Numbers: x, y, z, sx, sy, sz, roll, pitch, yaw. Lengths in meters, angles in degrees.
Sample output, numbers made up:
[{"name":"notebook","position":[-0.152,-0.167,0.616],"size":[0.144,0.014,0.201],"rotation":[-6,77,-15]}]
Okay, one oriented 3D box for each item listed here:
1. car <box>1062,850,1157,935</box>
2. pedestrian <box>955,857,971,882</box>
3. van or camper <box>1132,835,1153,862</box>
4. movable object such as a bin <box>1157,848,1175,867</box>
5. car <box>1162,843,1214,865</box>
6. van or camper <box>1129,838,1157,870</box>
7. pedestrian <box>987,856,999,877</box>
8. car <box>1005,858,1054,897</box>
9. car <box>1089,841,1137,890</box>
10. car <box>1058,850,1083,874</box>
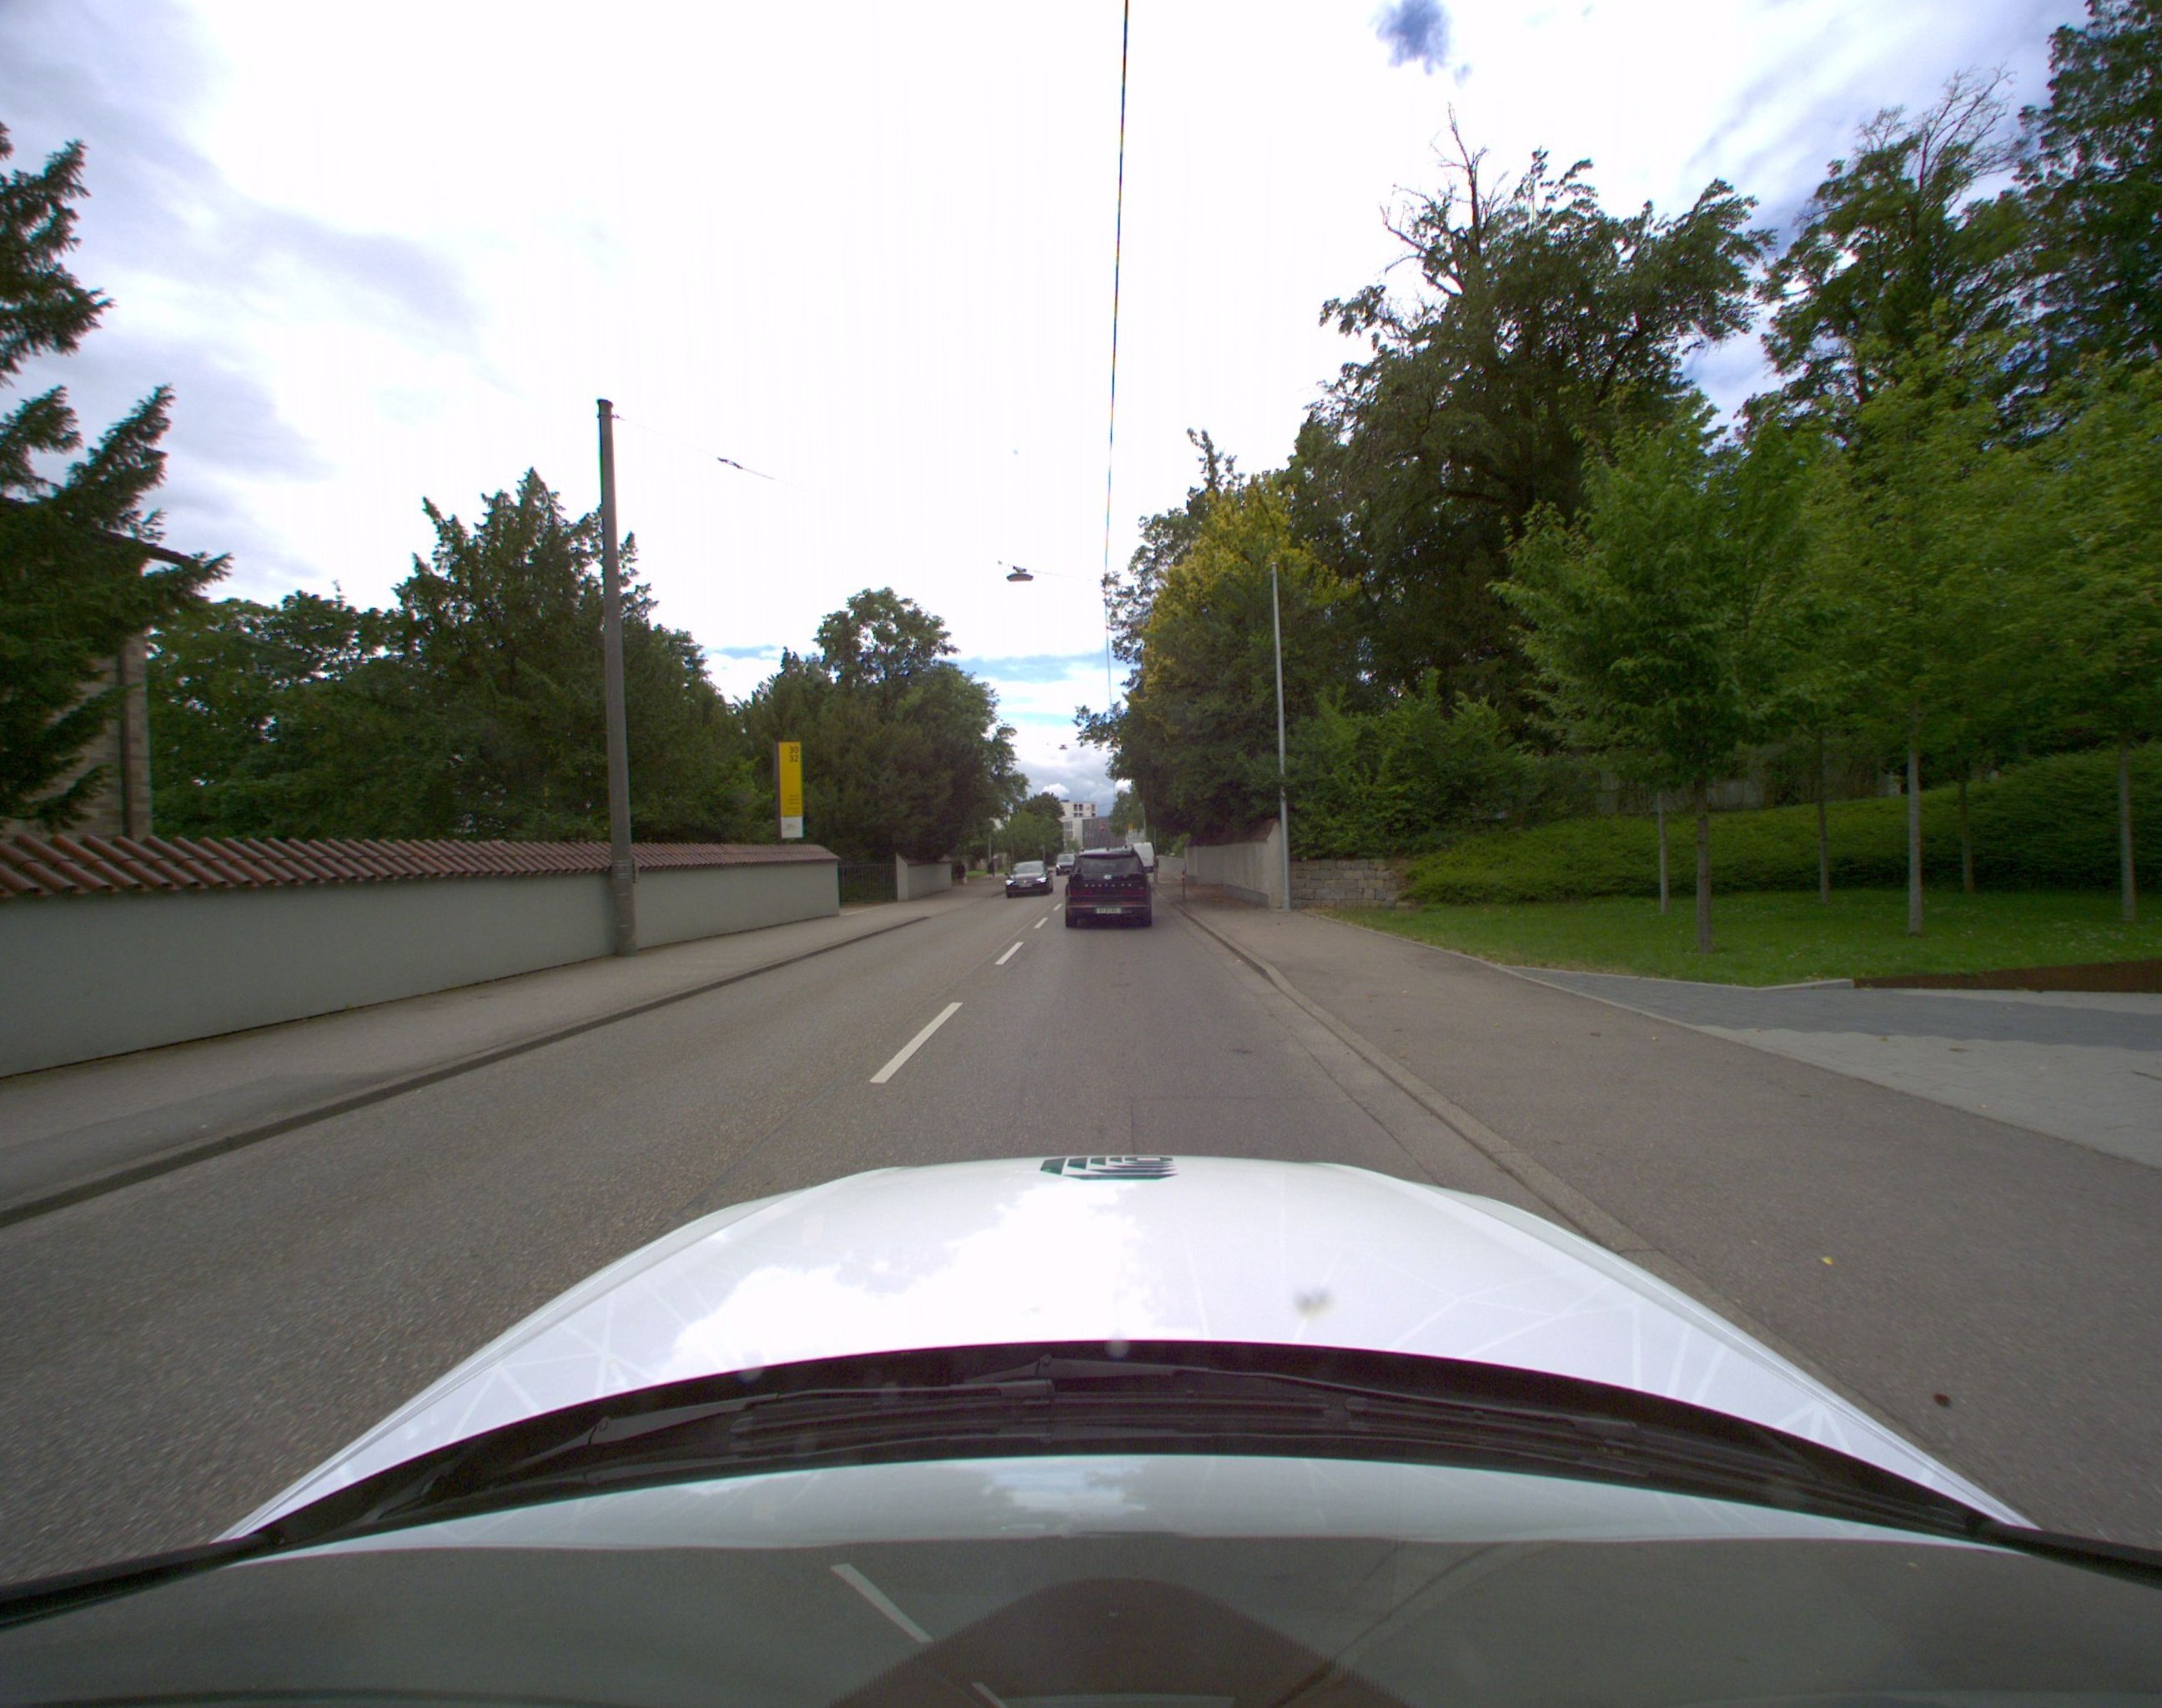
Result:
[{"name":"car","position":[0.678,0.788,18.977],"size":[1.956,1.711,4.003],"rotation":[-1,0,2]},{"name":"pedestrian","position":[-7.546,1.009,52.027],"size":[0.923,1.560,0.902],"rotation":[0,-1,-2]},{"name":"van or camper","position":[6.980,-0.650,93.492],"size":[1.956,2.797,5.288],"rotation":[-4,0,1]},{"name":"movable object such as a bin","position":[6.889,0.299,65.776],"size":[1.295,1.450,1.181],"rotation":[-4,0,2]},{"name":"car","position":[9.436,0.005,71.833],"size":[4.375,1.652,1.831],"rotation":[-3,0,3]},{"name":"van or camper","position":[5.628,-0.014,74.591],"size":[1.956,2.627,6.361],"rotation":[-5,0,1]},{"name":"pedestrian","position":[-6.941,0.971,64.265],"size":[0.746,1.578,0.967],"rotation":[-1,0,2]},{"name":"car","position":[-2.139,0.948,34.997],"size":[1.780,1.428,3.999],"rotation":[-4,0,0]},{"name":"car","position":[1.387,0.469,35.914],"size":[1.956,2.001,4.001],"rotation":[-2,0,1]},{"name":"car","position":[-0.908,0.657,72.840],"size":[1.884,1.855,5.084],"rotation":[-6,0,1]}]
